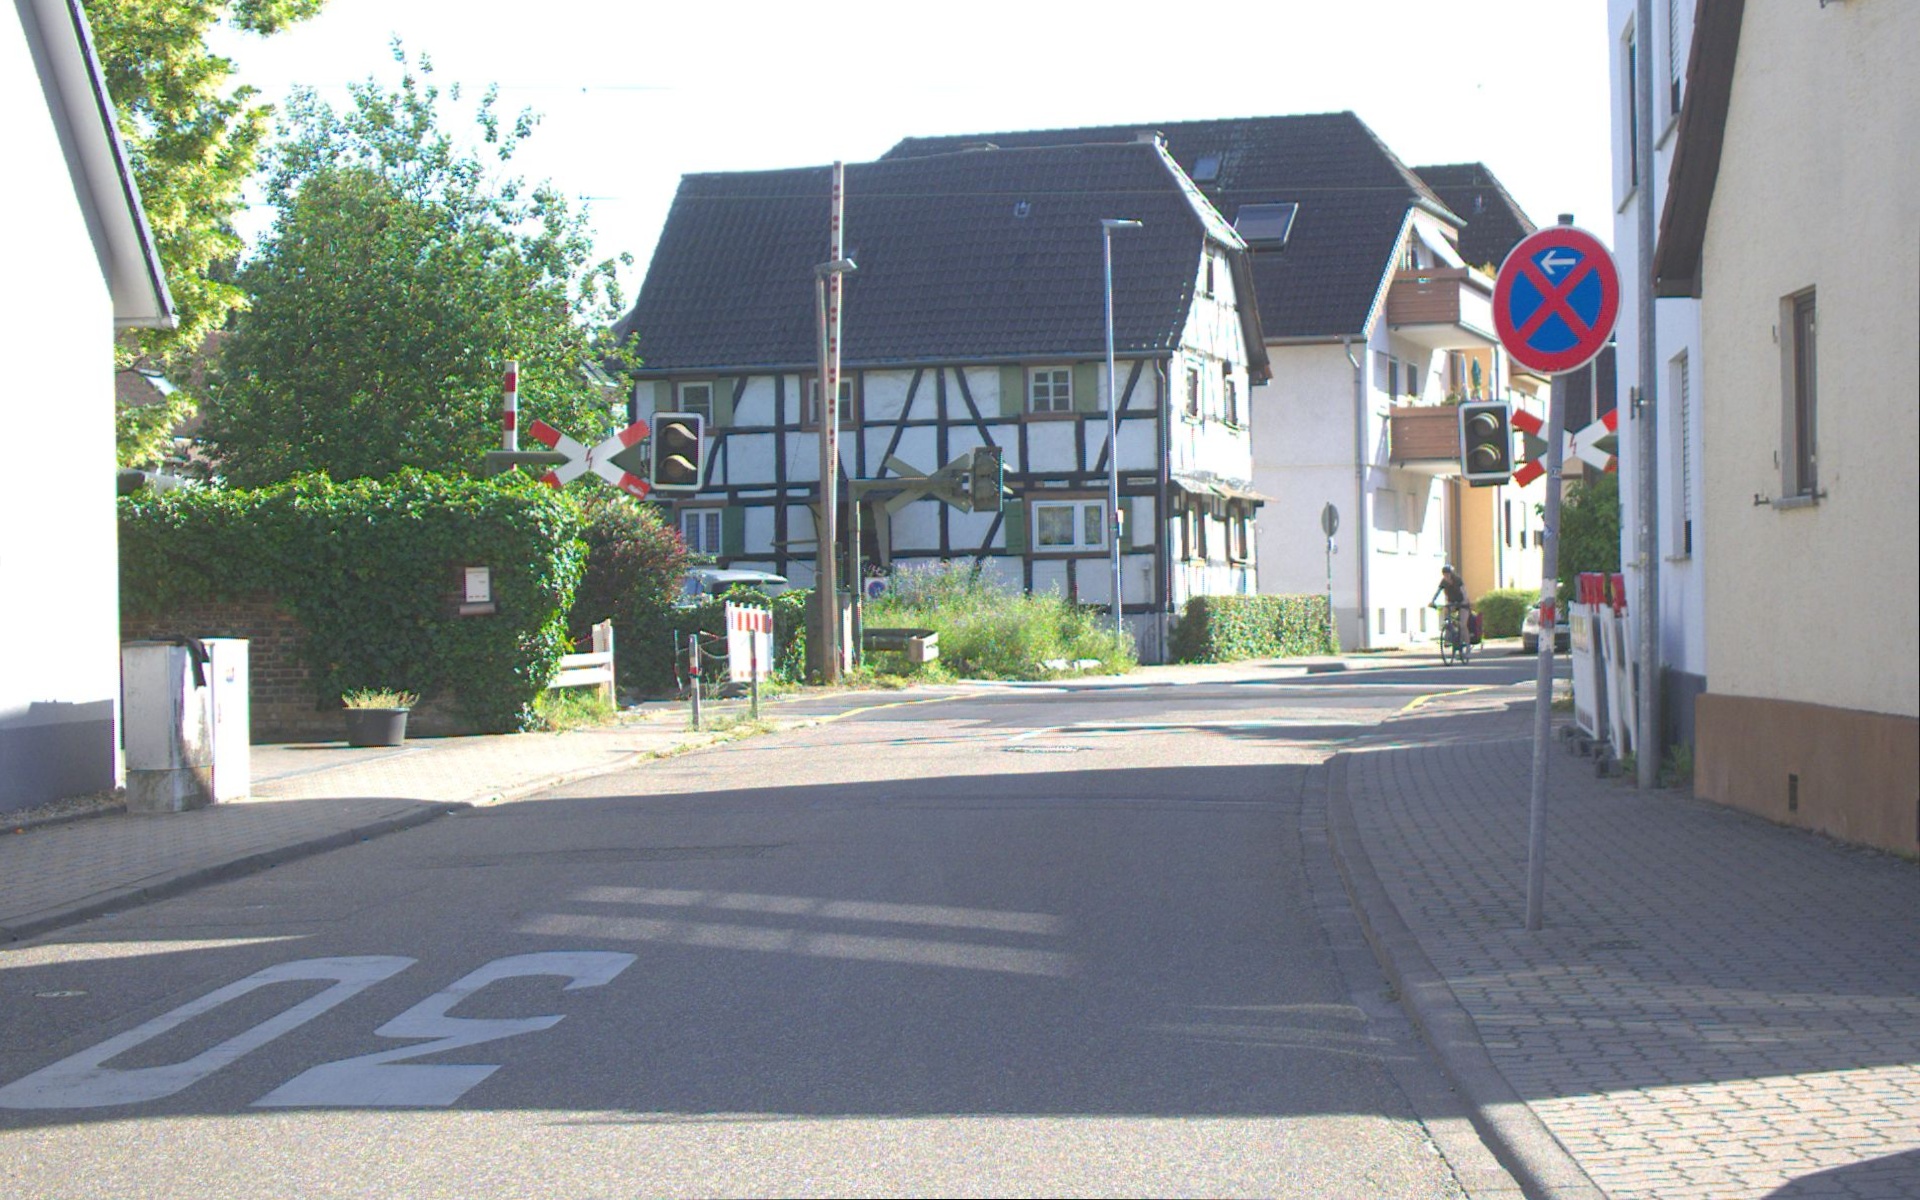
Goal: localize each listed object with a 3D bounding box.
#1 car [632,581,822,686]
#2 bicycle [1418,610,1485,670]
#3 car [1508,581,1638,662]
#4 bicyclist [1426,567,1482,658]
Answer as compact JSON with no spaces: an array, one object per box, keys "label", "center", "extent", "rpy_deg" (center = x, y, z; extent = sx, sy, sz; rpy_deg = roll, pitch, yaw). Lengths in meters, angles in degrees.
[{"label":"car","center":[-3.667,0.511,53.561],"extent":[1.683,1.559,4.001],"rpy_deg":[1,0,-24]},{"label":"bicycle","center":[8.451,0.688,59.040],"extent":[0.884,1.002,2.061],"rpy_deg":[-1,-1,15]},{"label":"car","center":[12.723,0.432,71.215],"extent":[1.633,1.501,3.848],"rpy_deg":[-4,-1,25]},{"label":"bicyclist","center":[8.485,0.221,59.072],"extent":[0.849,1.536,0.872],"rpy_deg":[0,-1,15]}]
